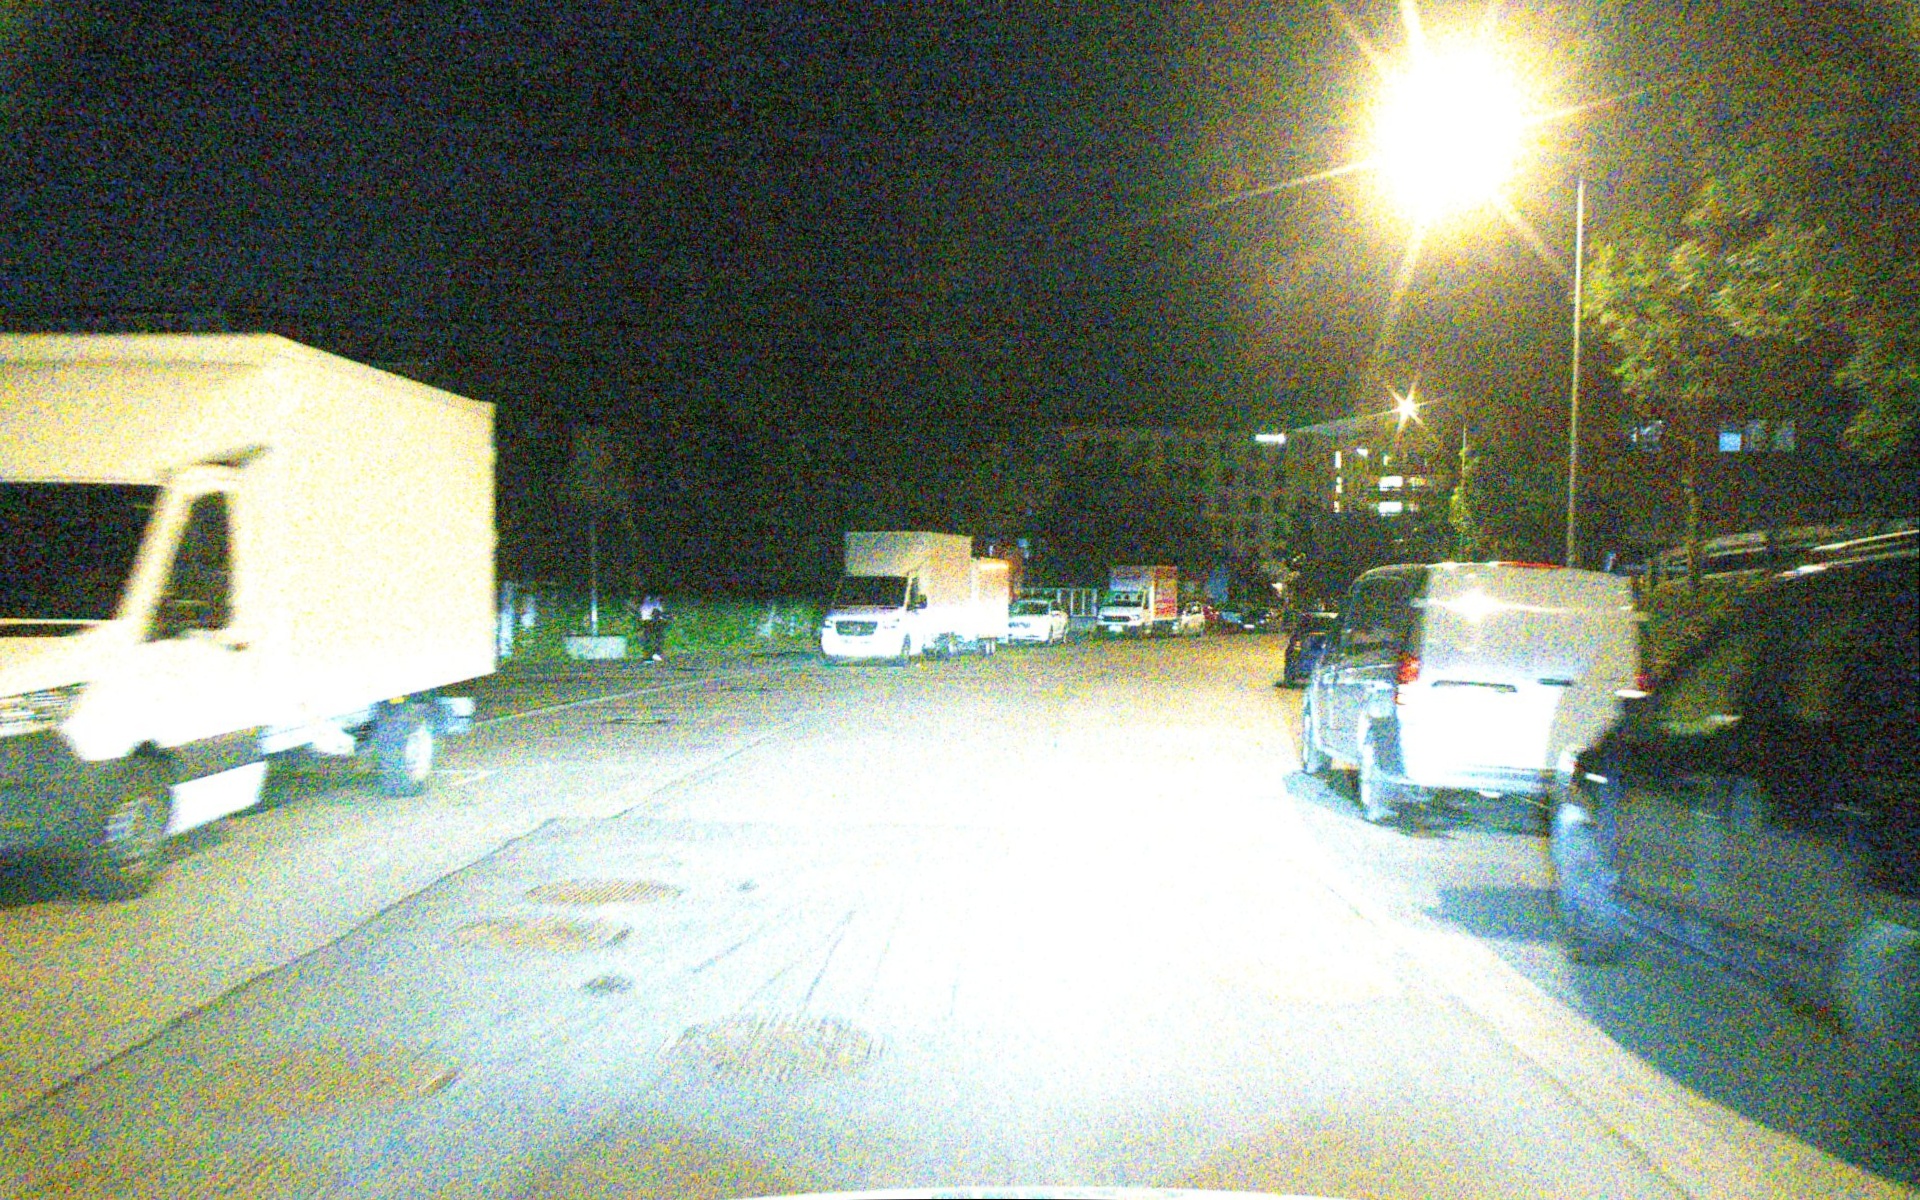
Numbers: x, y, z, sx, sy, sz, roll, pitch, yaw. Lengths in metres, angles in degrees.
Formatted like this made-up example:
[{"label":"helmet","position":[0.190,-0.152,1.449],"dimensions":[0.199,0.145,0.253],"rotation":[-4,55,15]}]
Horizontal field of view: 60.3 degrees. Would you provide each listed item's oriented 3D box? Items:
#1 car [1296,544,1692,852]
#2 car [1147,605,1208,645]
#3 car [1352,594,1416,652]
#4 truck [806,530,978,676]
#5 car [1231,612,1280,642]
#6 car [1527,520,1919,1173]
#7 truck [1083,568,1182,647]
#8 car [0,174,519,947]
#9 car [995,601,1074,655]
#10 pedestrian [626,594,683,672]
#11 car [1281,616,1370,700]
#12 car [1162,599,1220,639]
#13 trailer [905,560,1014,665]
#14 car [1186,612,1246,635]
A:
[{"label":"car","position":[4.163,0.674,13.907],"dimensions":[1.951,2.049,5.357],"rotation":[1,0,4]},{"label":"car","position":[10.607,1.200,80.376],"dimensions":[1.792,1.848,4.837],"rotation":[0,-1,22]},{"label":"car","position":[20.030,1.084,77.973],"dimensions":[1.980,2.570,6.050],"rotation":[2,0,23]},{"label":"truck","position":[-1.534,0.086,41.269],"dimensions":[2.322,3.300,7.237],"rotation":[1,0,14]},{"label":"car","position":[17.460,1.581,97.478],"dimensions":[1.721,1.552,4.319],"rotation":[3,2,25]},{"label":"car","position":[3.568,0.714,5.892],"dimensions":[1.693,1.811,4.317],"rotation":[2,0,2]},{"label":"truck","position":[7.854,0.352,74.340],"dimensions":[2.491,3.338,7.311],"rotation":[1,0,22]},{"label":"car","position":[-5.003,-0.175,10.675],"dimensions":[2.333,3.300,7.231],"rotation":[1,0,0]},{"label":"car","position":[2.701,0.964,58.632],"dimensions":[1.951,1.803,4.696],"rotation":[1,0,13]},{"label":"pedestrian","position":[-6.799,0.731,36.817],"dimensions":[0.765,1.700,1.001],"rotation":[0,-1,39]},{"label":"car","position":[7.517,1.157,34.265],"dimensions":[1.574,1.538,3.829],"rotation":[3,0,10]},{"label":"car","position":[14.097,1.135,100.598],"dimensions":[1.955,2.362,4.960],"rotation":[-1,-1,27]},{"label":"trailer","position":[0.042,0.358,47.554],"dimensions":[2.157,2.844,4.620],"rotation":[1,0,12]},{"label":"car","position":[18.268,1.687,118.157],"dimensions":[3.906,1.598,1.816],"rotation":[0,-1,24]}]
